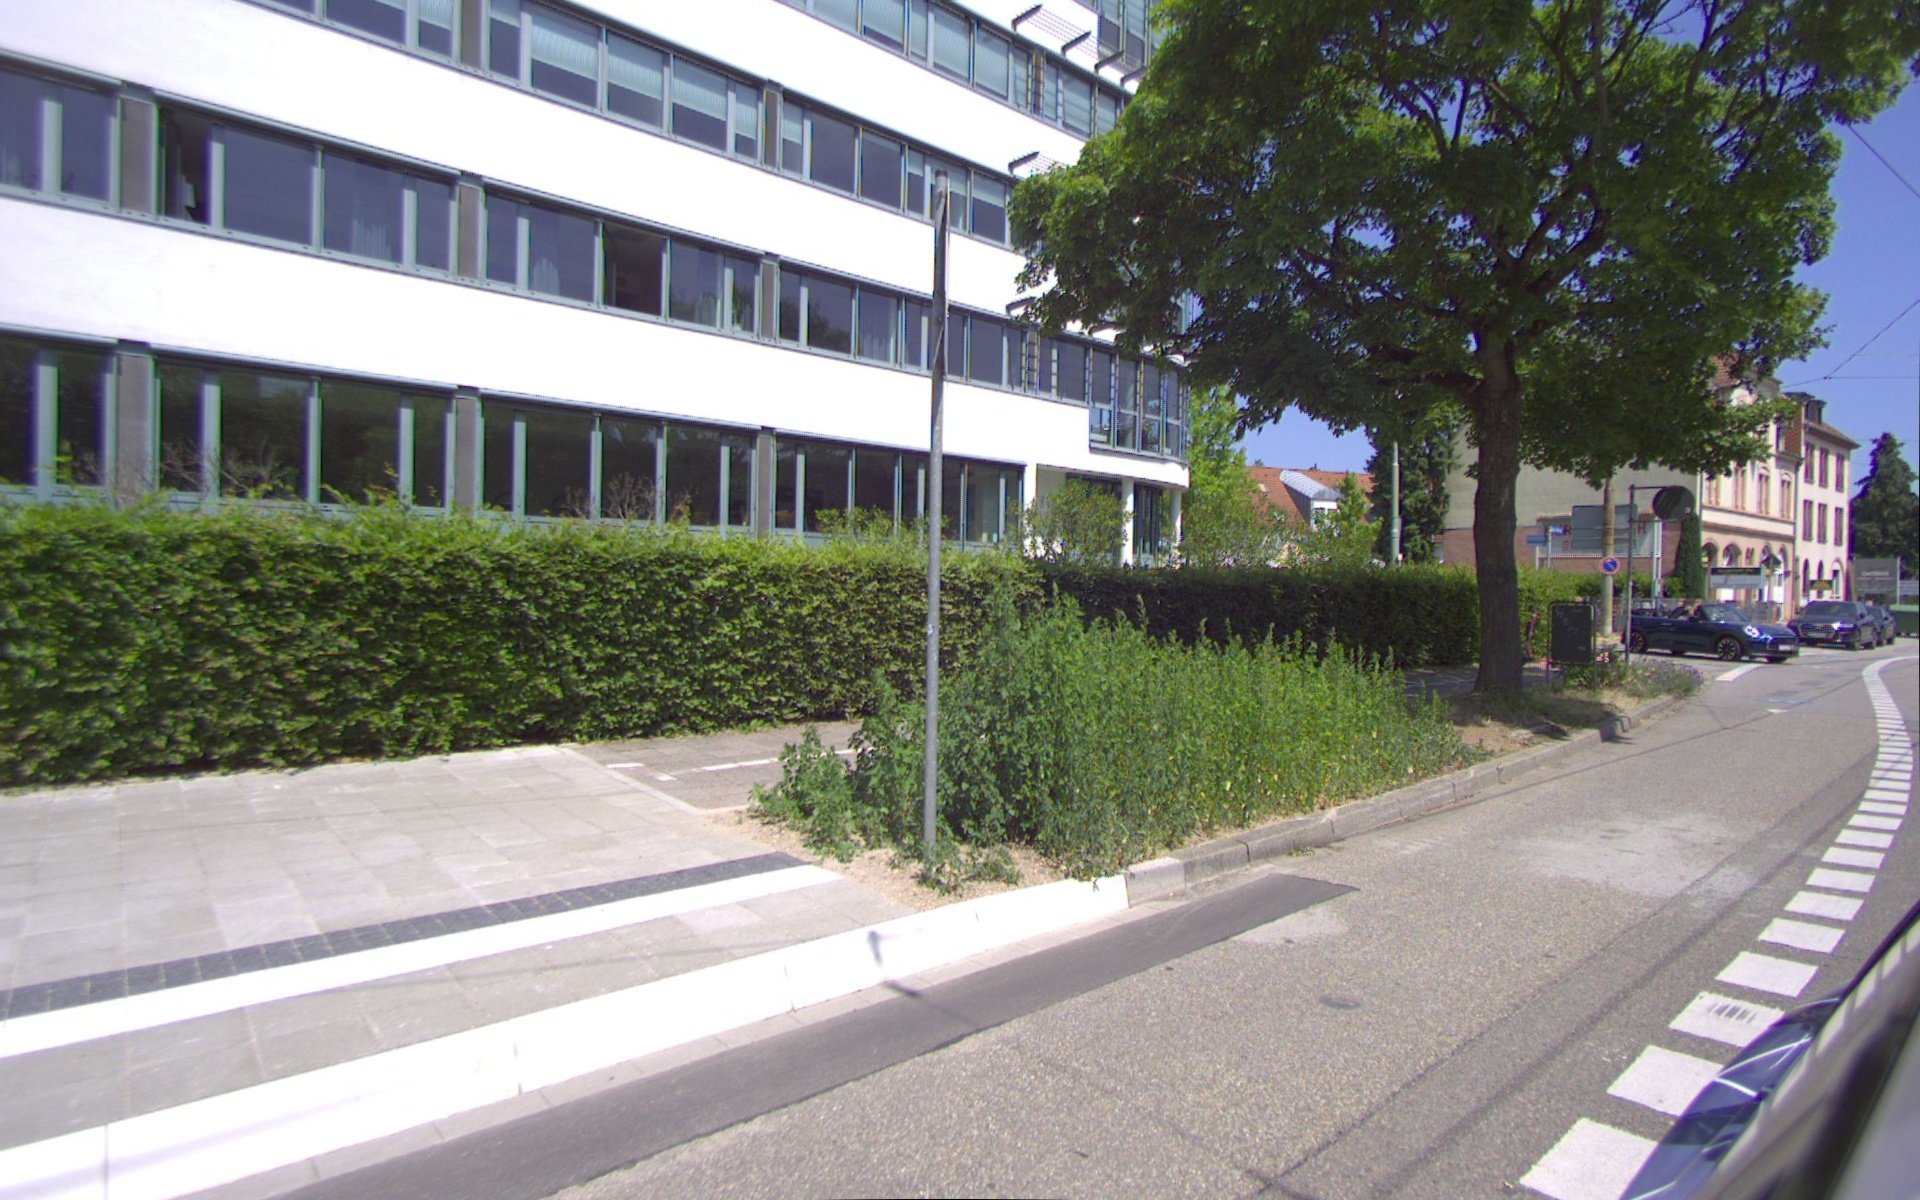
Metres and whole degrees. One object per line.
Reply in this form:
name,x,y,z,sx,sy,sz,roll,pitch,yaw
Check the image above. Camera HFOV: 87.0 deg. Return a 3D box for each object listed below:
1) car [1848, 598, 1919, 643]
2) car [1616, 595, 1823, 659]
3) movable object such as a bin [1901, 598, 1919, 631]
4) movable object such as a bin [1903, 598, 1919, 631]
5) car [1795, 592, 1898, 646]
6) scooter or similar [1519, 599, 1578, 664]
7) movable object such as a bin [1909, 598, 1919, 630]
car,36.817,0.761,40.112,4.389,1.567,1.776,0,3,-40
car,18.975,0.630,25.521,1.667,1.389,3.936,0,1,-16
movable object such as a bin,43.455,0.672,45.688,1.040,1.472,1.325,0,3,-43
movable object such as a bin,44.218,0.685,46.450,1.040,1.472,1.249,0,3,-43
car,31.699,0.634,36.124,4.991,1.713,1.929,0,3,-40
scooter or similar,11.402,0.604,19.605,1.127,1.238,0.327,0,-1,-19
movable object such as a bin,45.146,0.691,47.042,1.120,1.472,1.394,0,3,-43
